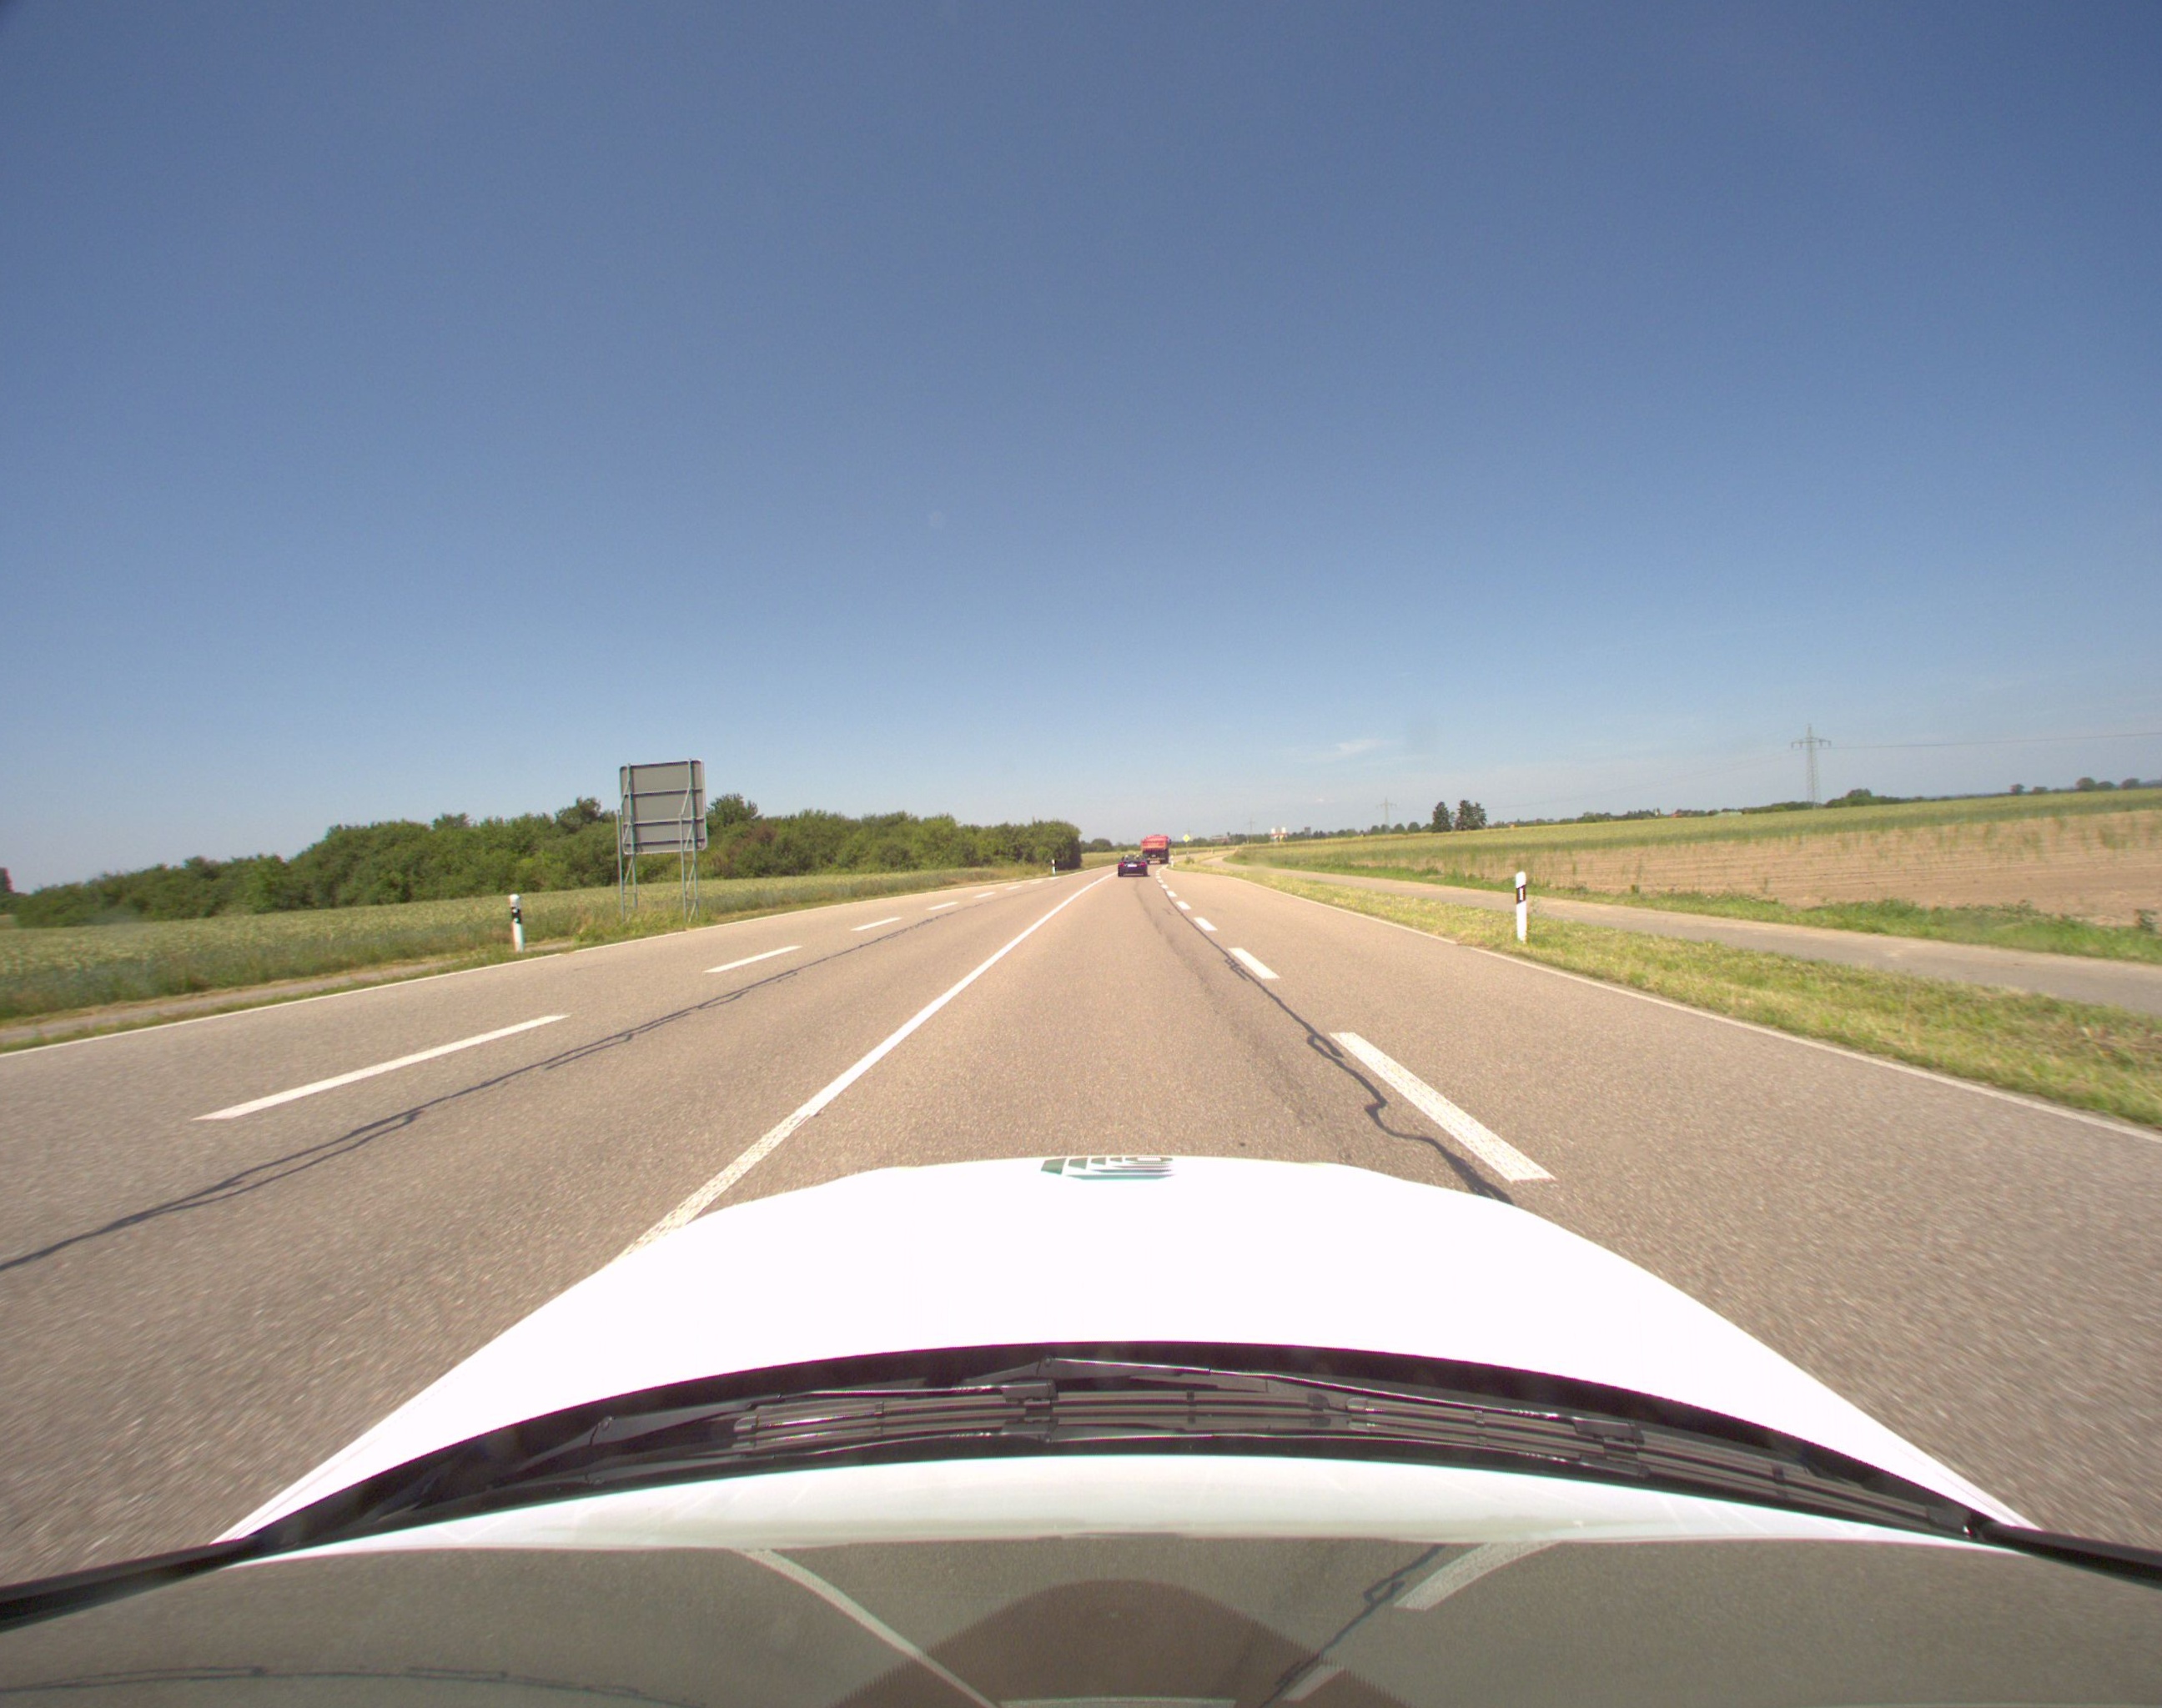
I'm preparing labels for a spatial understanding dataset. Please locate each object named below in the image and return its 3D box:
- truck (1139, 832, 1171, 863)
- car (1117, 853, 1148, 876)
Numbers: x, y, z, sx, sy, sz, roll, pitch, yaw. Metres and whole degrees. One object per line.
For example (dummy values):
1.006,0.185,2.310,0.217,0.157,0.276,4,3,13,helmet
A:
7.851,-0.638,86.032,2.922,3.089,7.211,-2,0,7,truck
3.091,0.623,49.240,1.737,1.280,4.003,-2,0,2,car
